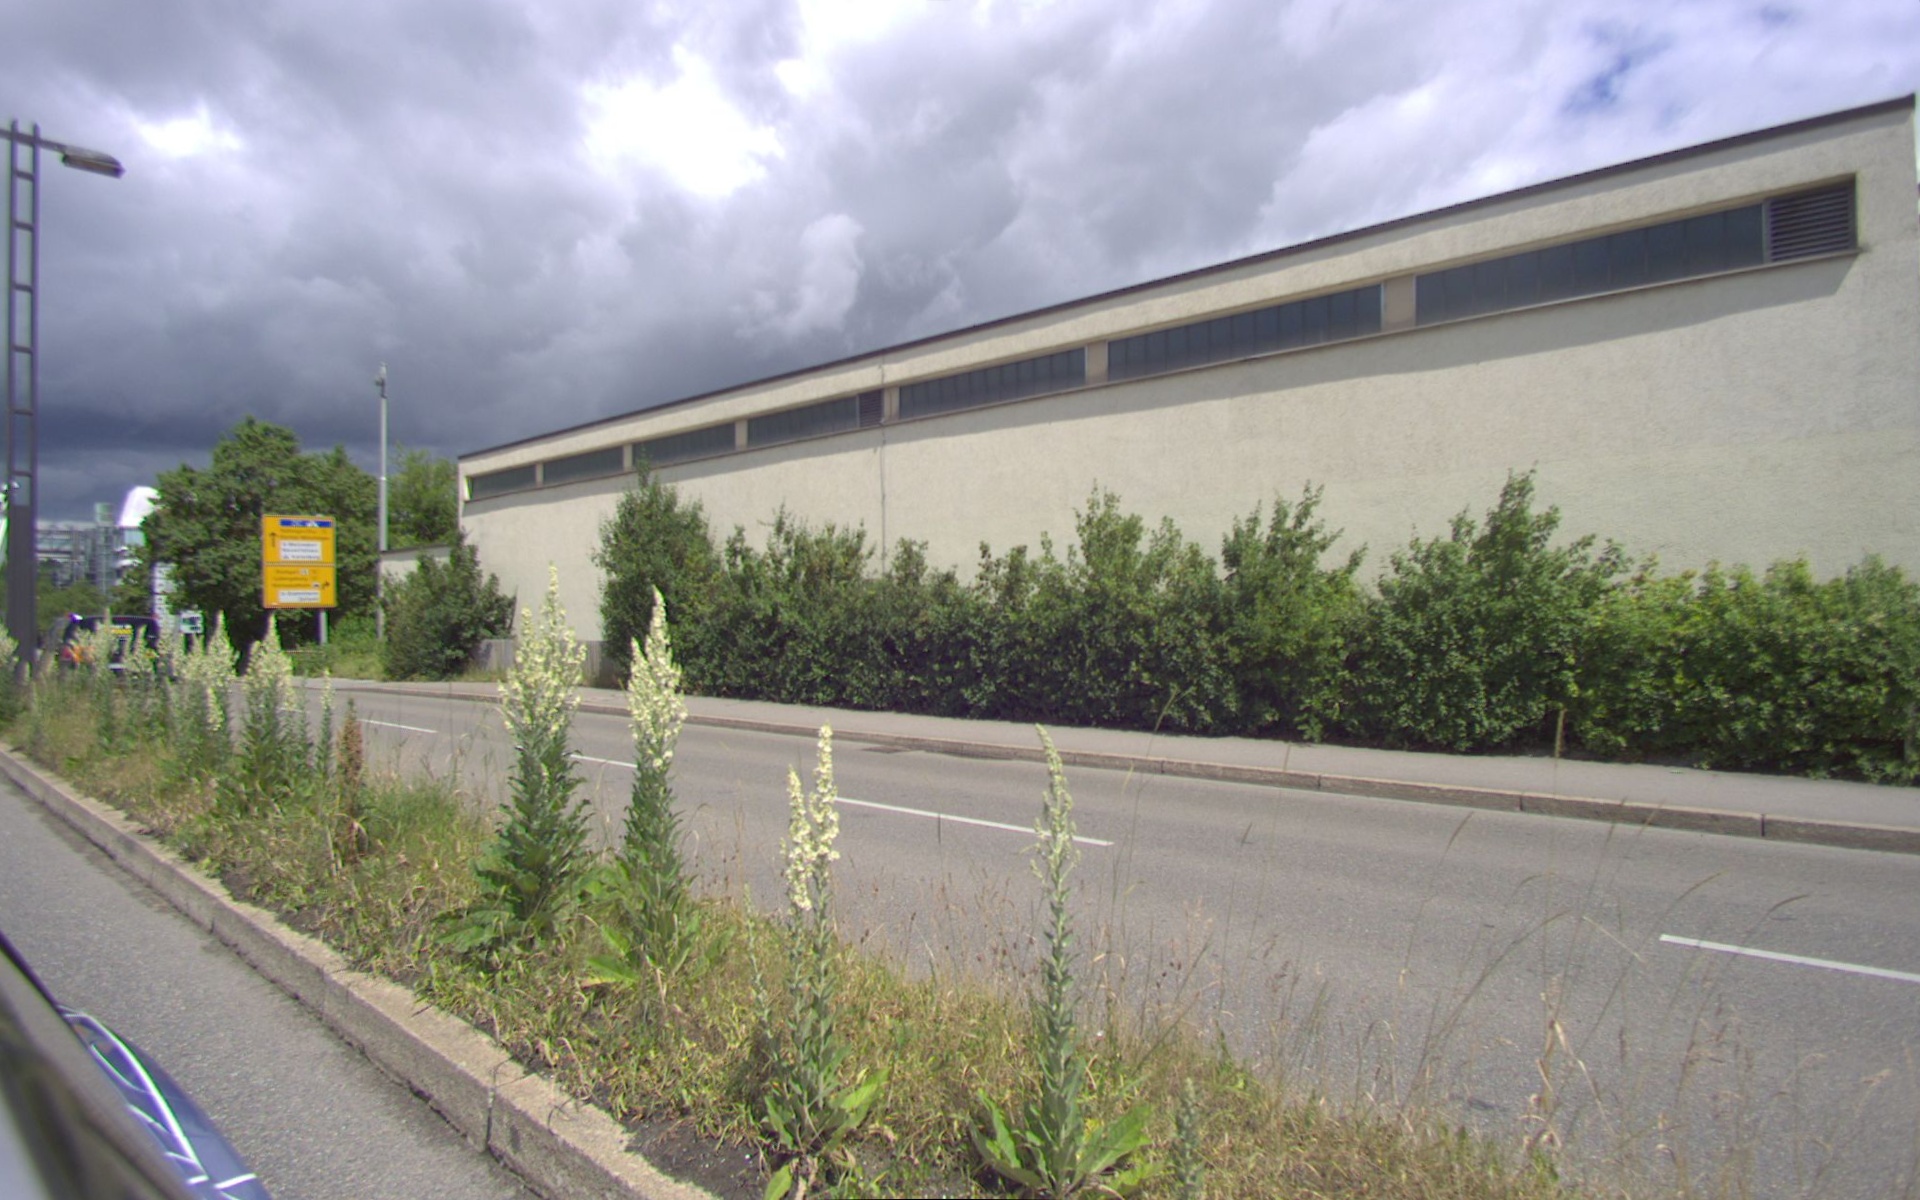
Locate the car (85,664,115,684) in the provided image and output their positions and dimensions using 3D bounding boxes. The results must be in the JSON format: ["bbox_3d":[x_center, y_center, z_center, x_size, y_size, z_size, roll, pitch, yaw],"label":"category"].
[{"bbox_3d":[-96.924,8.324,114.127,1.966,1.973,4.640,-1,-2,-33],"label":"car"}]

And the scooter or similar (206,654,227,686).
[{"bbox_3d":[-31.647,2.996,43.045,0.485,1.314,1.644,-2,-2,-44],"label":"scooter or similar"}]

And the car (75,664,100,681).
[{"bbox_3d":[-86.911,7.242,100.781,1.817,1.519,4.567,0,-4,-42],"label":"car"}]

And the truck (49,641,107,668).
[{"bbox_3d":[-137.597,8.460,157.920,8.908,3.595,2.349,-4,-2,16],"label":"truck"}]

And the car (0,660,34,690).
[{"bbox_3d":[-54.785,4.324,58.131,4.441,1.639,1.858,-4,-4,41],"label":"car"}]

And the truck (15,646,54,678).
[{"bbox_3d":[-99.185,6.667,108.547,2.820,2.879,9.389,0,-5,-41],"label":"truck"}]

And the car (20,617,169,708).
[{"bbox_3d":[-20.431,1.417,23.826,4.866,1.903,1.973,-3,-2,41],"label":"car"}]
